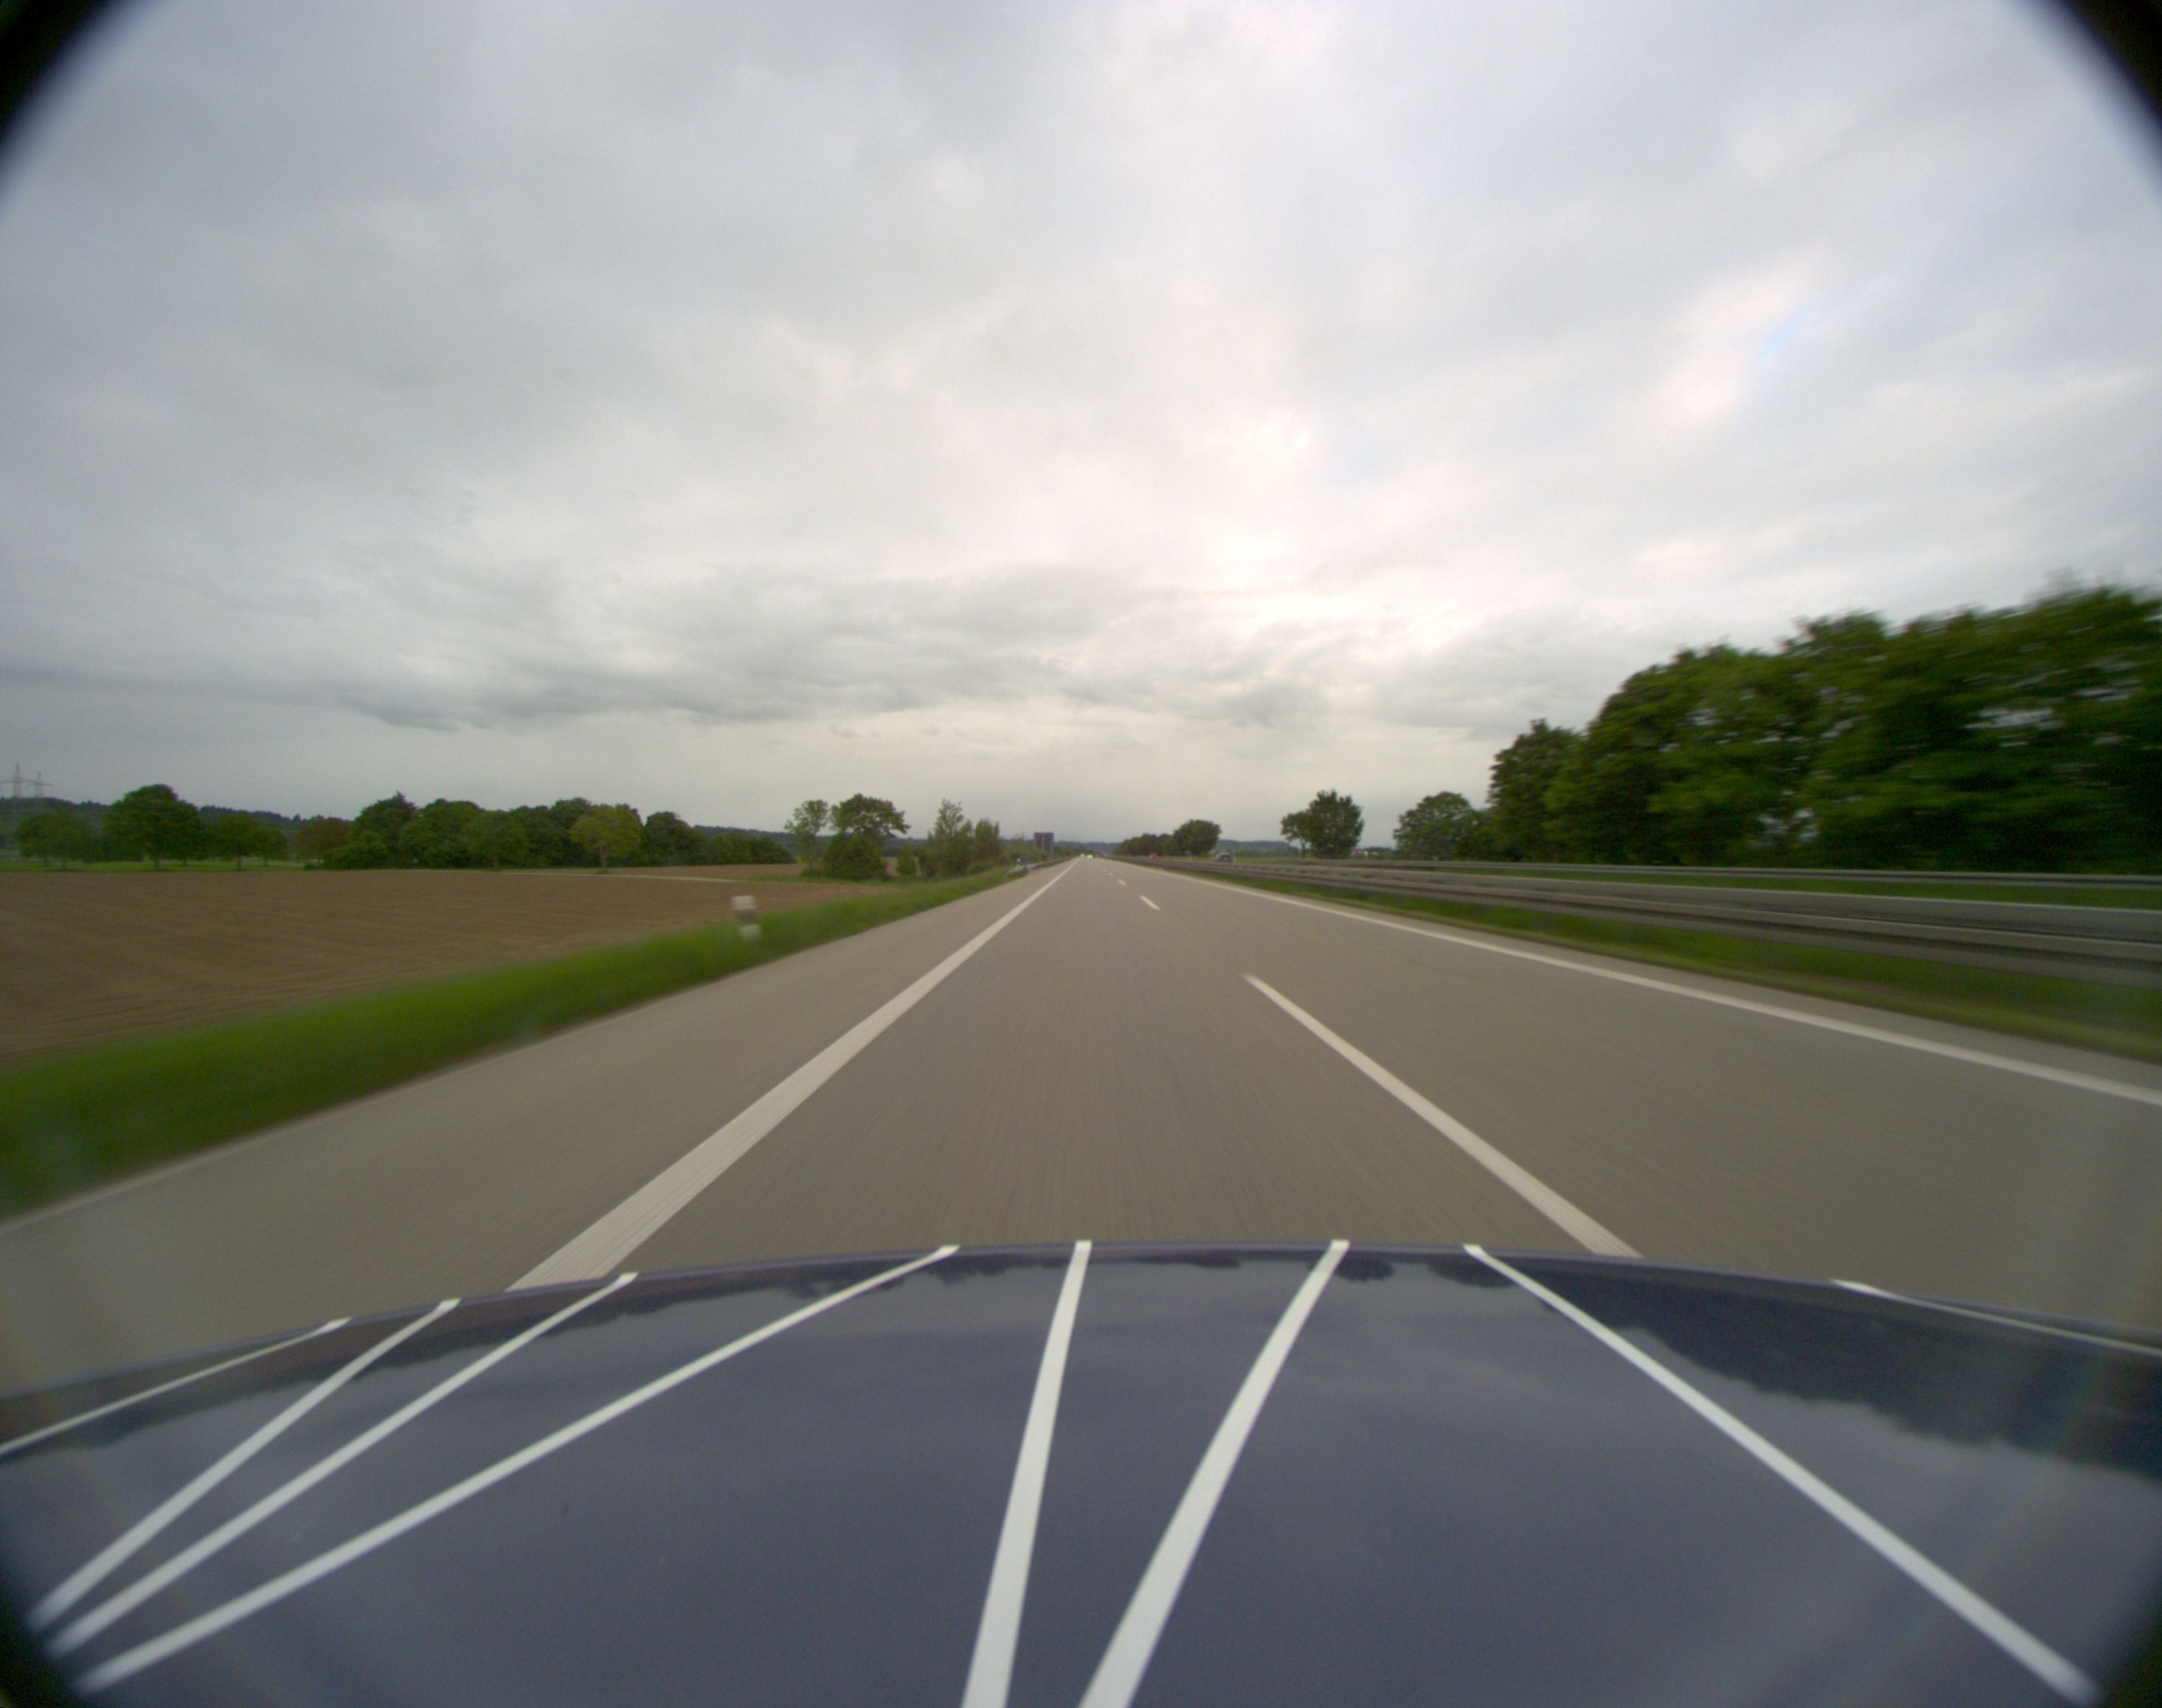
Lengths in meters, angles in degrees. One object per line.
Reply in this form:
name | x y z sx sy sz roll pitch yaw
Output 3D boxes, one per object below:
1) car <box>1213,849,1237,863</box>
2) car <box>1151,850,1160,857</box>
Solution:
car | 17.852 0.222 94.300 1.998 1.573 4.808 -2 1 1
car | 18.193 -0.227 185.910 1.822 1.553 4.523 -3 1 0
